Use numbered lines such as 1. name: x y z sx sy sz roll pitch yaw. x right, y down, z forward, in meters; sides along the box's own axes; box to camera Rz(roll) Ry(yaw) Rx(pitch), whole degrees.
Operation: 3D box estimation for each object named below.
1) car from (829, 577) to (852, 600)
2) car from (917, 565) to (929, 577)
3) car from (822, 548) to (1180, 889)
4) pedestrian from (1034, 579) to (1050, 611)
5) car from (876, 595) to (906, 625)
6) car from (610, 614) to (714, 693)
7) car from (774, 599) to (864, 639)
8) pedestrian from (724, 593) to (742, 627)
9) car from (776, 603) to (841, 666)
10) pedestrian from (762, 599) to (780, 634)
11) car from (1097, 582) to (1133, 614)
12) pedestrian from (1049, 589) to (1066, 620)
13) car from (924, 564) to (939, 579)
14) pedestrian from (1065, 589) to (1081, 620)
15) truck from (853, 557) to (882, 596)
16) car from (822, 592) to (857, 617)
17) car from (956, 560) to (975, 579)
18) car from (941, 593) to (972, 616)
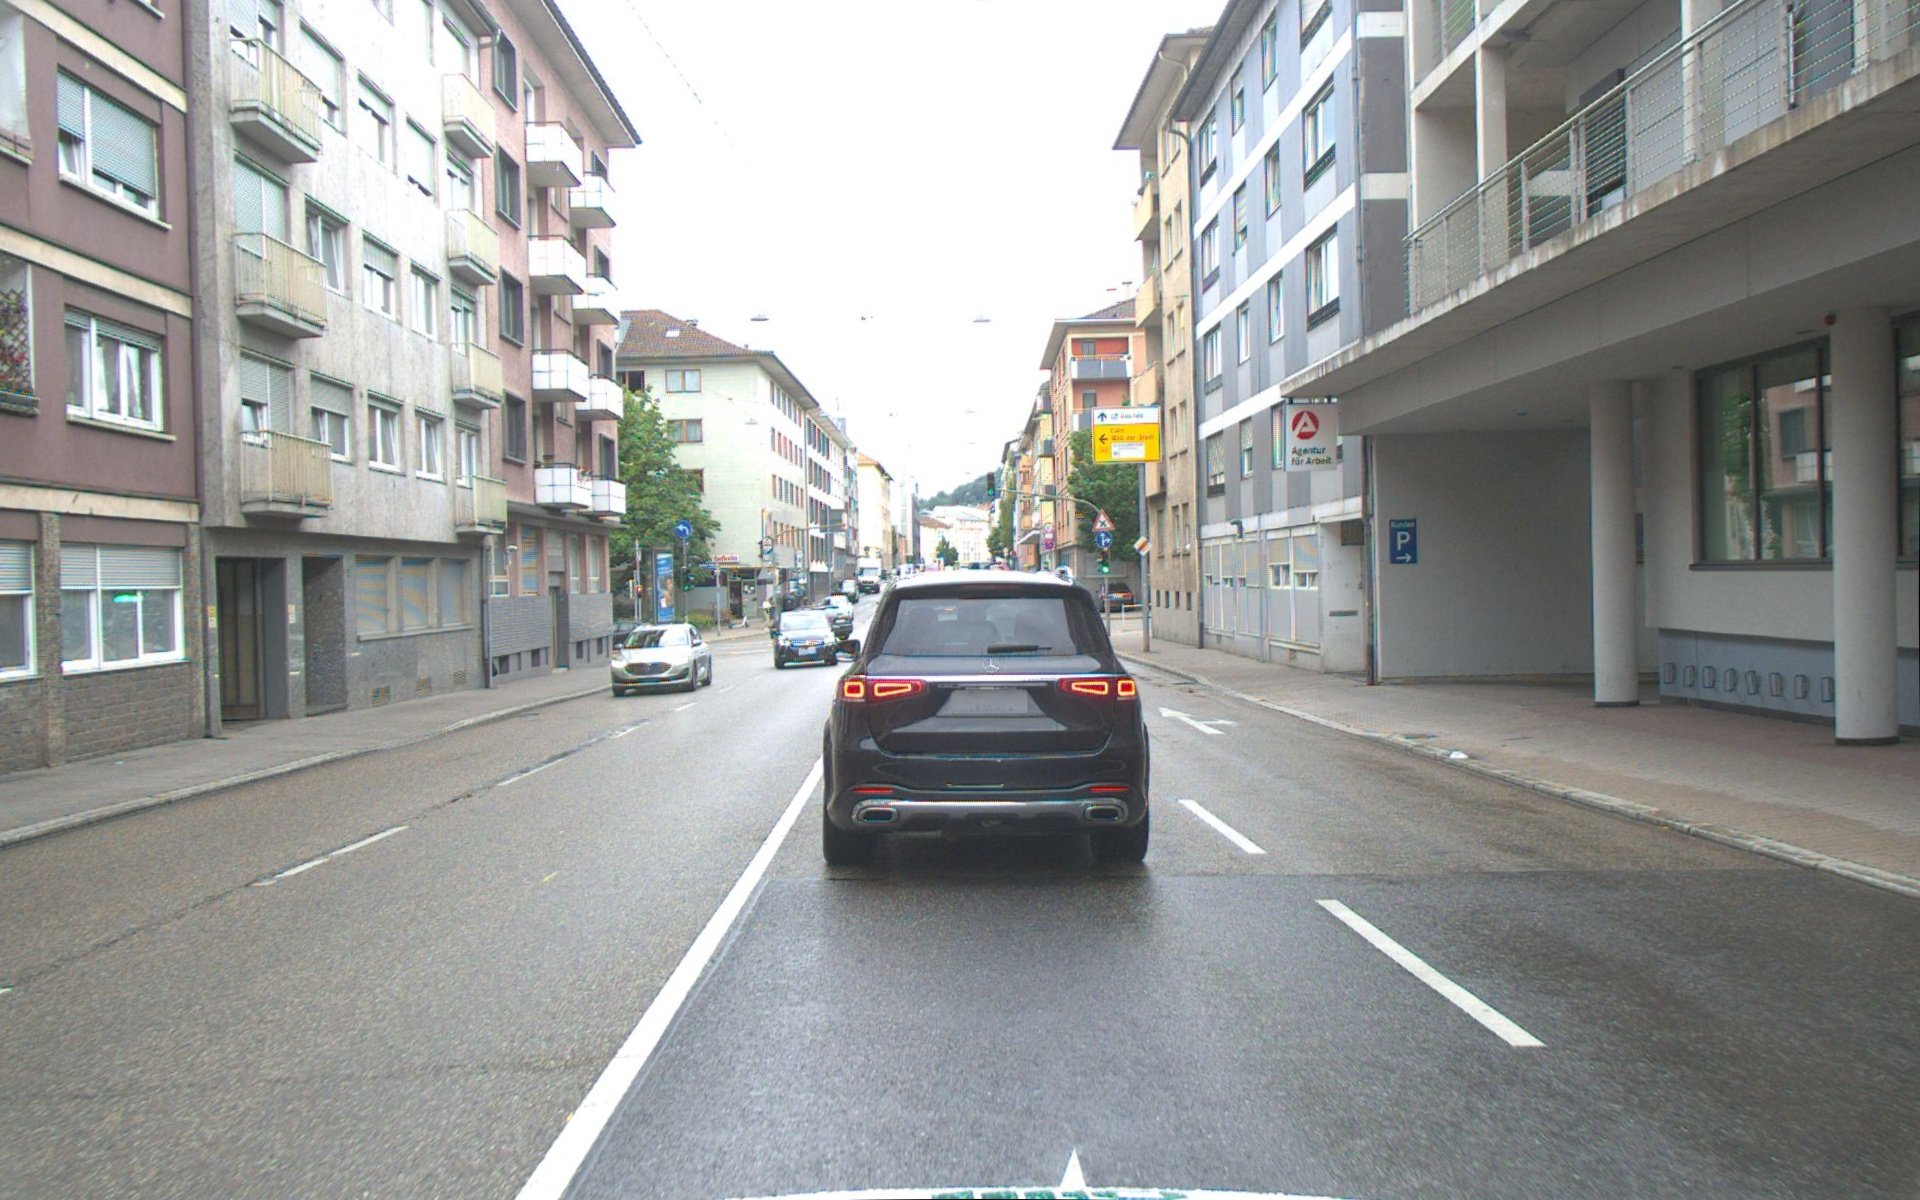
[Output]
1. car: -9.023 -0.886 124.974 1.586 1.566 4.215 -3 -1 -3
2. car: -5.515 -4.316 243.552 1.586 1.566 4.215 -3 -1 -3
3. car: 0.200 0.695 11.351 1.944 1.837 4.388 1 -1 -1
4. pedestrian: 5.311 -0.332 106.649 0.904 2.049 0.706 -2 0 -3
5. car: -3.974 0.598 94.631 1.586 1.566 4.215 -3 -1 -3
6. car: -6.578 1.159 36.874 1.737 1.566 4.355 -3 -1 -4
7. car: -6.168 0.844 72.003 1.761 1.566 4.296 -2 -1 -39
8. pedestrian: -13.091 0.567 95.282 0.904 1.935 0.706 -2 0 -3
9. car: -4.520 0.971 49.017 1.738 1.674 4.406 -3 0 -6
10. pedestrian: -10.041 0.866 87.815 0.622 1.795 0.774 -2 0 16
11. car: 8.249 -0.097 88.216 1.636 1.616 3.331 -2 0 1
12. pedestrian: 5.838 0.291 98.928 0.904 1.836 0.706 -2 0 -3
13. car: -3.335 -3.326 195.996 1.586 1.566 4.215 -3 -1 -3
14. pedestrian: 6.753 0.260 98.946 0.845 1.856 0.706 -2 0 -3
15. truck: -8.385 -2.116 150.440 2.430 3.099 9.913 -3 -1 -3
16. car: -6.830 0.264 93.926 1.848 1.286 4.215 -3 -1 -3
17. car: 0.570 -3.172 172.621 1.689 1.790 4.215 -3 -1 -3
18. car: -0.261 0.310 109.898 1.953 1.375 3.999 -2 0 -2
